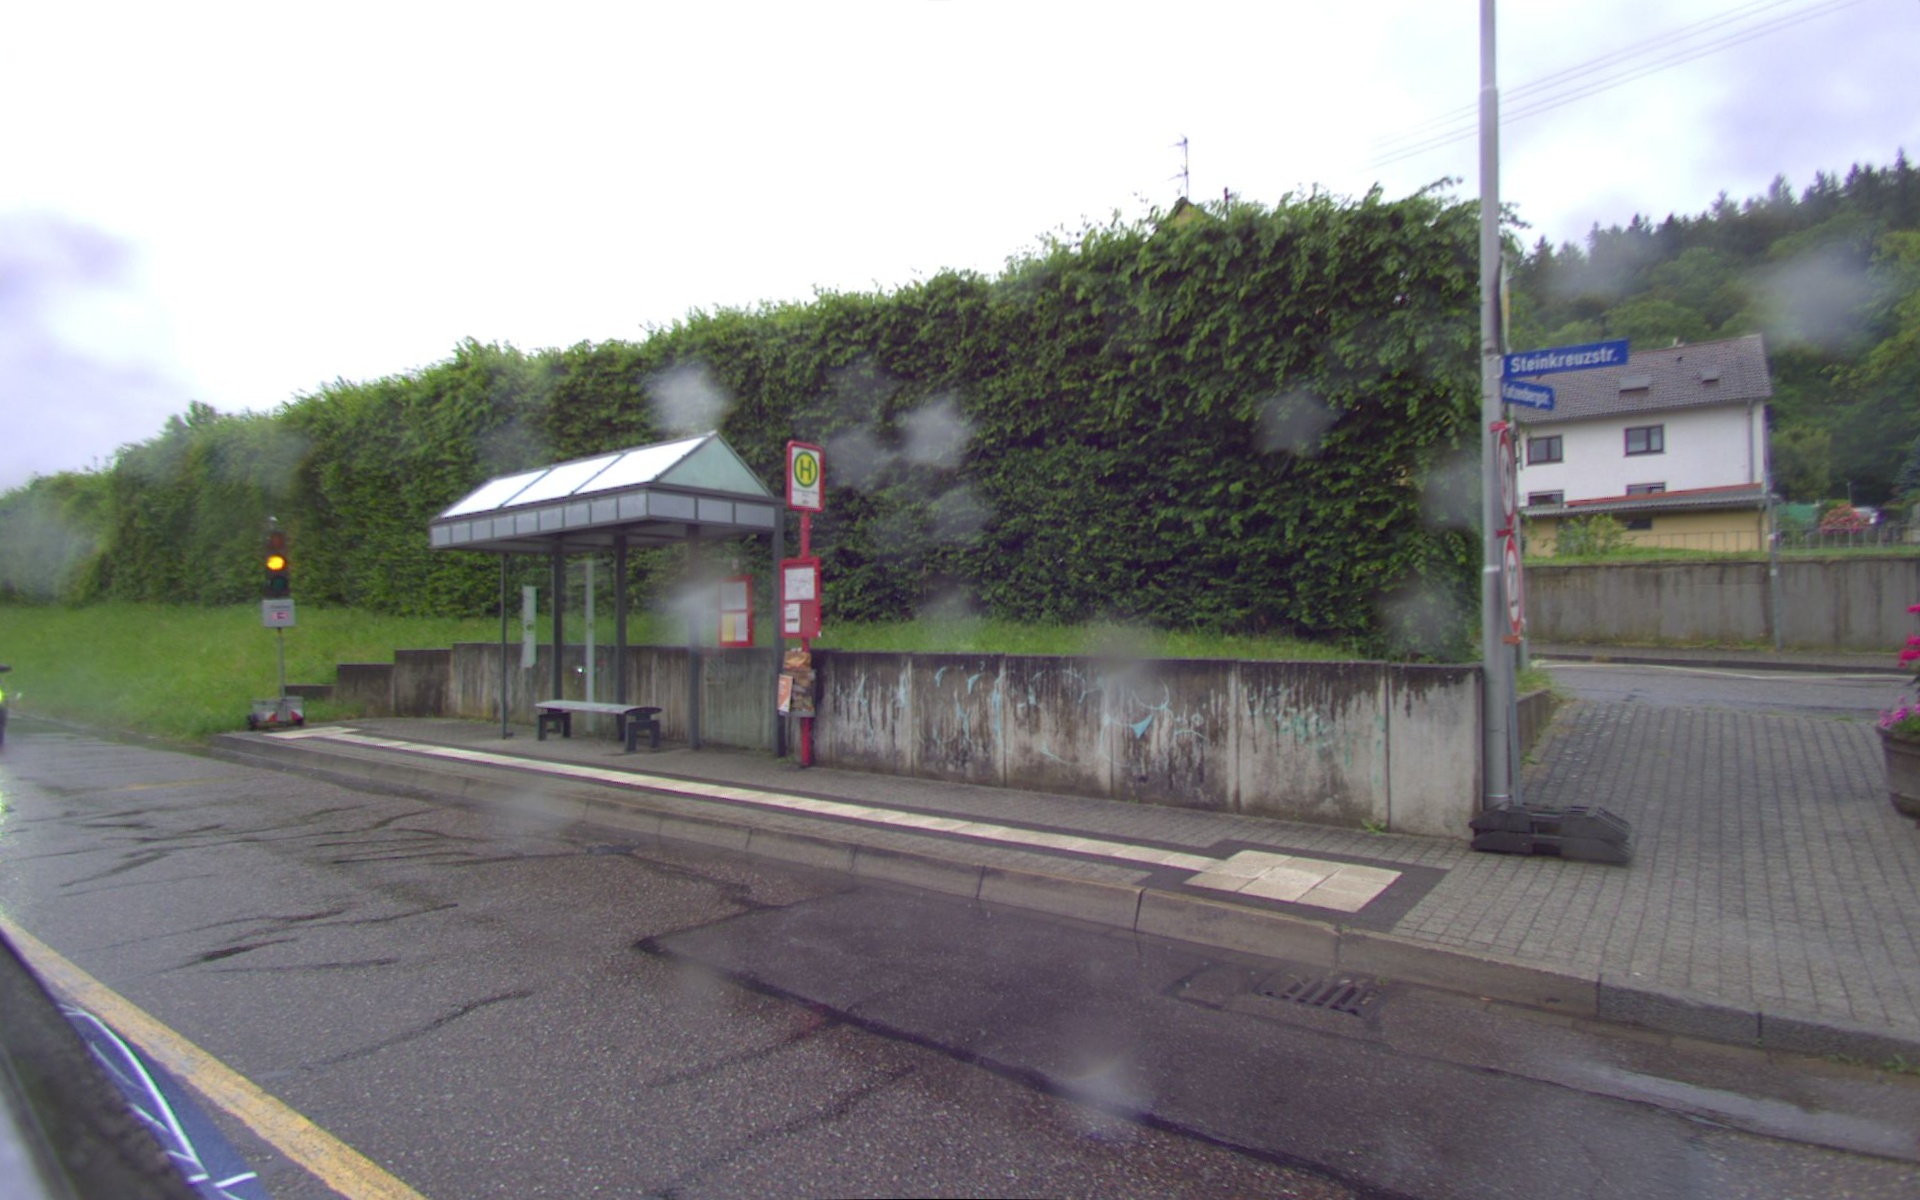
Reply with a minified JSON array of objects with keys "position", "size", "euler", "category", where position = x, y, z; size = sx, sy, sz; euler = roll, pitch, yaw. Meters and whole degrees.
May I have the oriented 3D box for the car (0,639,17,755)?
[{"position":[-14.498,1.256,13.881],"size":[4.530,1.463,1.827],"euler":[-1,-3,42],"category":"car"}]
